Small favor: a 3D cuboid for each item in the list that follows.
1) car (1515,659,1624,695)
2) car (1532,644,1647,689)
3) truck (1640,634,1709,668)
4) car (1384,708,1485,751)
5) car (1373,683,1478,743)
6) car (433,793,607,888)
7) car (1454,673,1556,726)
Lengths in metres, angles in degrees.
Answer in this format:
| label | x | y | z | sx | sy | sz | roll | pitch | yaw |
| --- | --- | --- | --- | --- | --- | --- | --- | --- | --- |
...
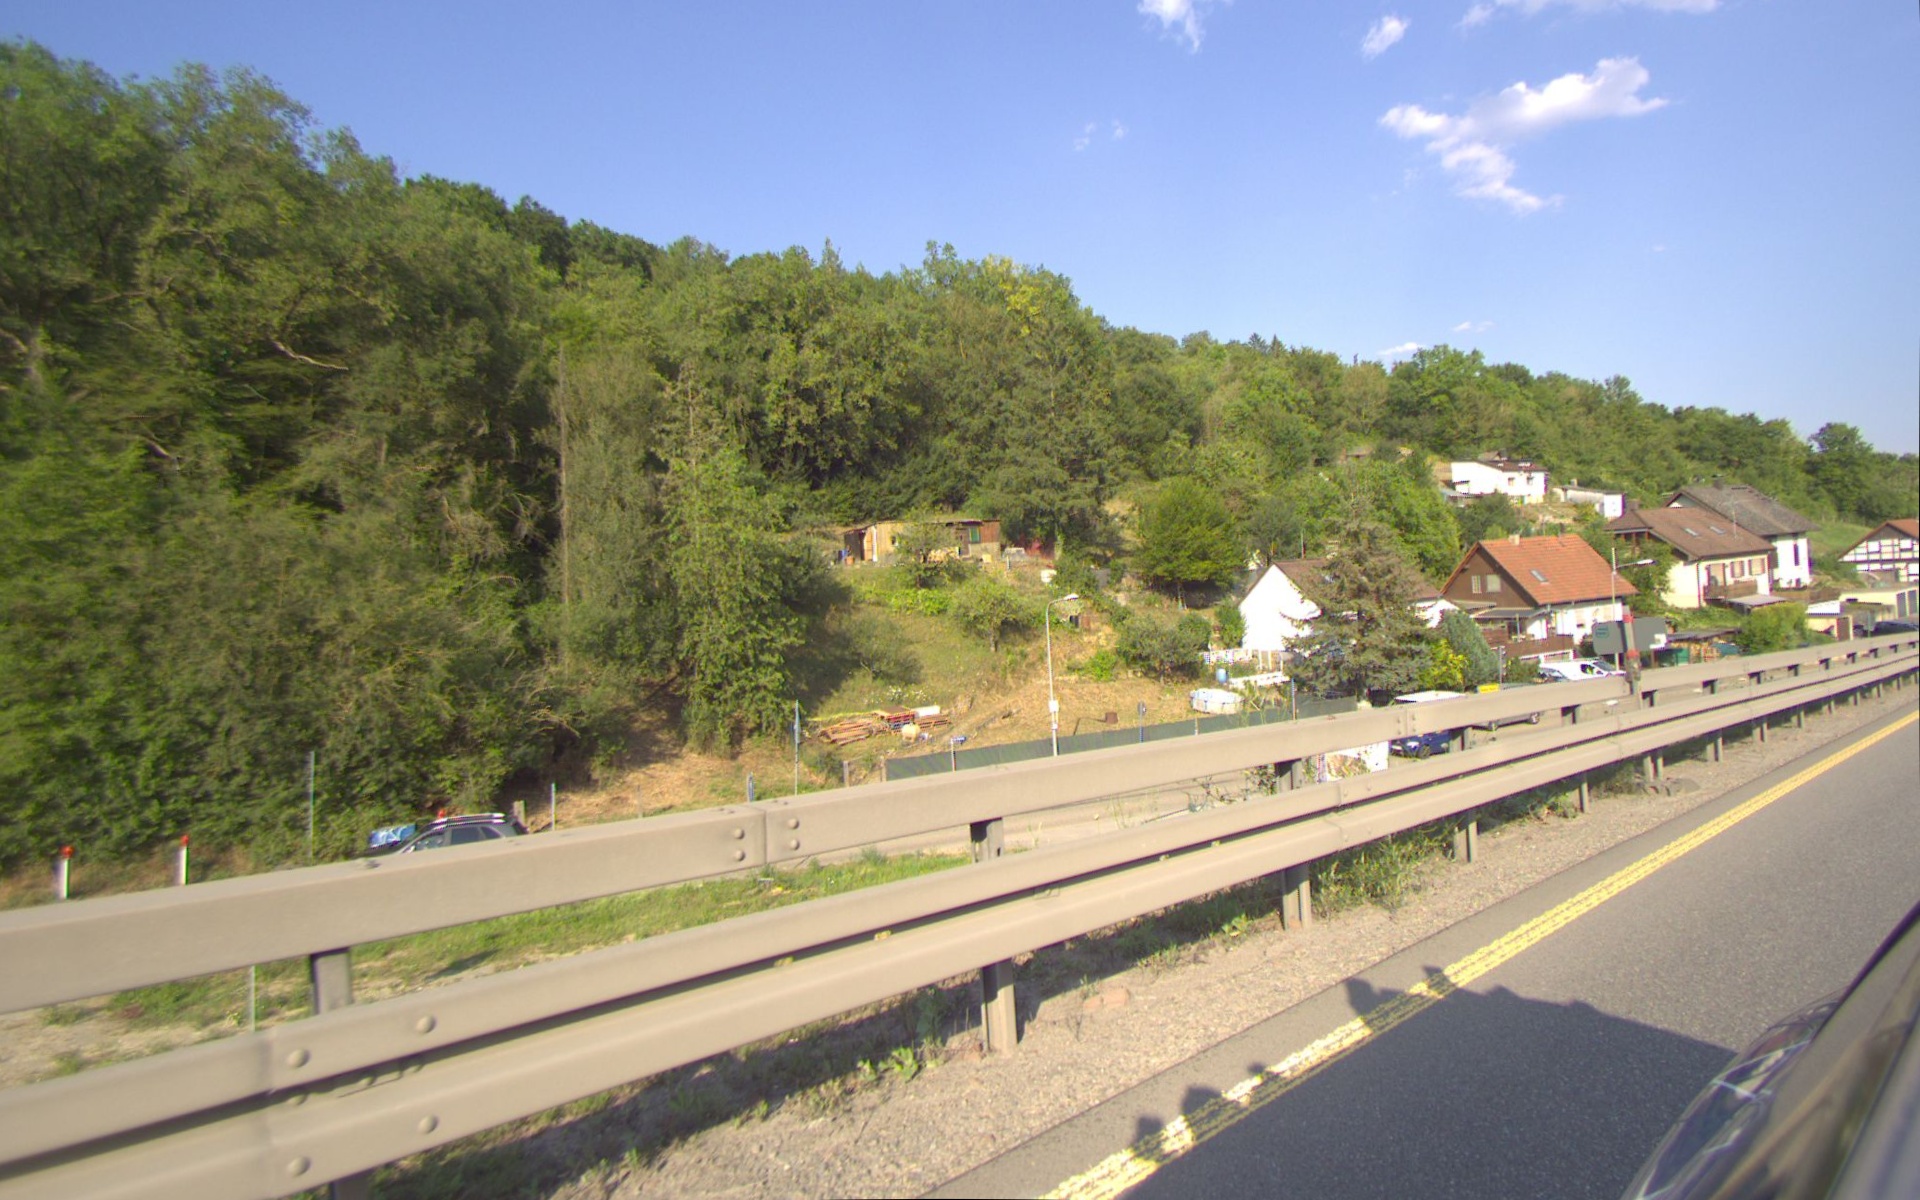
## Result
| label | x | y | z | sx | sy | sz | roll | pitch | yaw |
| --- | --- | --- | --- | --- | --- | --- | --- | --- | --- |
| car | 34.773 | 4.377 | 57.901 | 1.682 | 1.576 | 5.112 | -2 | 1 | -30 |
| car | 37.505 | 3.893 | 60.458 | 1.960 | 2.292 | 5.489 | -2 | 1 | -30 |
| truck | 46.133 | 3.271 | 65.458 | 1.968 | 1.760 | 3.988 | -7 | -2 | 10 |
| car | 20.176 | 5.482 | 43.096 | 3.541 | 1.619 | 1.776 | 0 | -3 | -14 |
| car | 21.468 | 5.154 | 46.607 | 4.952 | 2.010 | 1.871 | -3 | 3 | -30 |
| car | -12.429 | 6.758 | 28.774 | 4.405 | 1.807 | 1.872 | 0 | 0 | -24 |
| car | 26.503 | 4.785 | 49.210 | 4.766 | 1.940 | 2.005 | -3 | 2 | -27 |
